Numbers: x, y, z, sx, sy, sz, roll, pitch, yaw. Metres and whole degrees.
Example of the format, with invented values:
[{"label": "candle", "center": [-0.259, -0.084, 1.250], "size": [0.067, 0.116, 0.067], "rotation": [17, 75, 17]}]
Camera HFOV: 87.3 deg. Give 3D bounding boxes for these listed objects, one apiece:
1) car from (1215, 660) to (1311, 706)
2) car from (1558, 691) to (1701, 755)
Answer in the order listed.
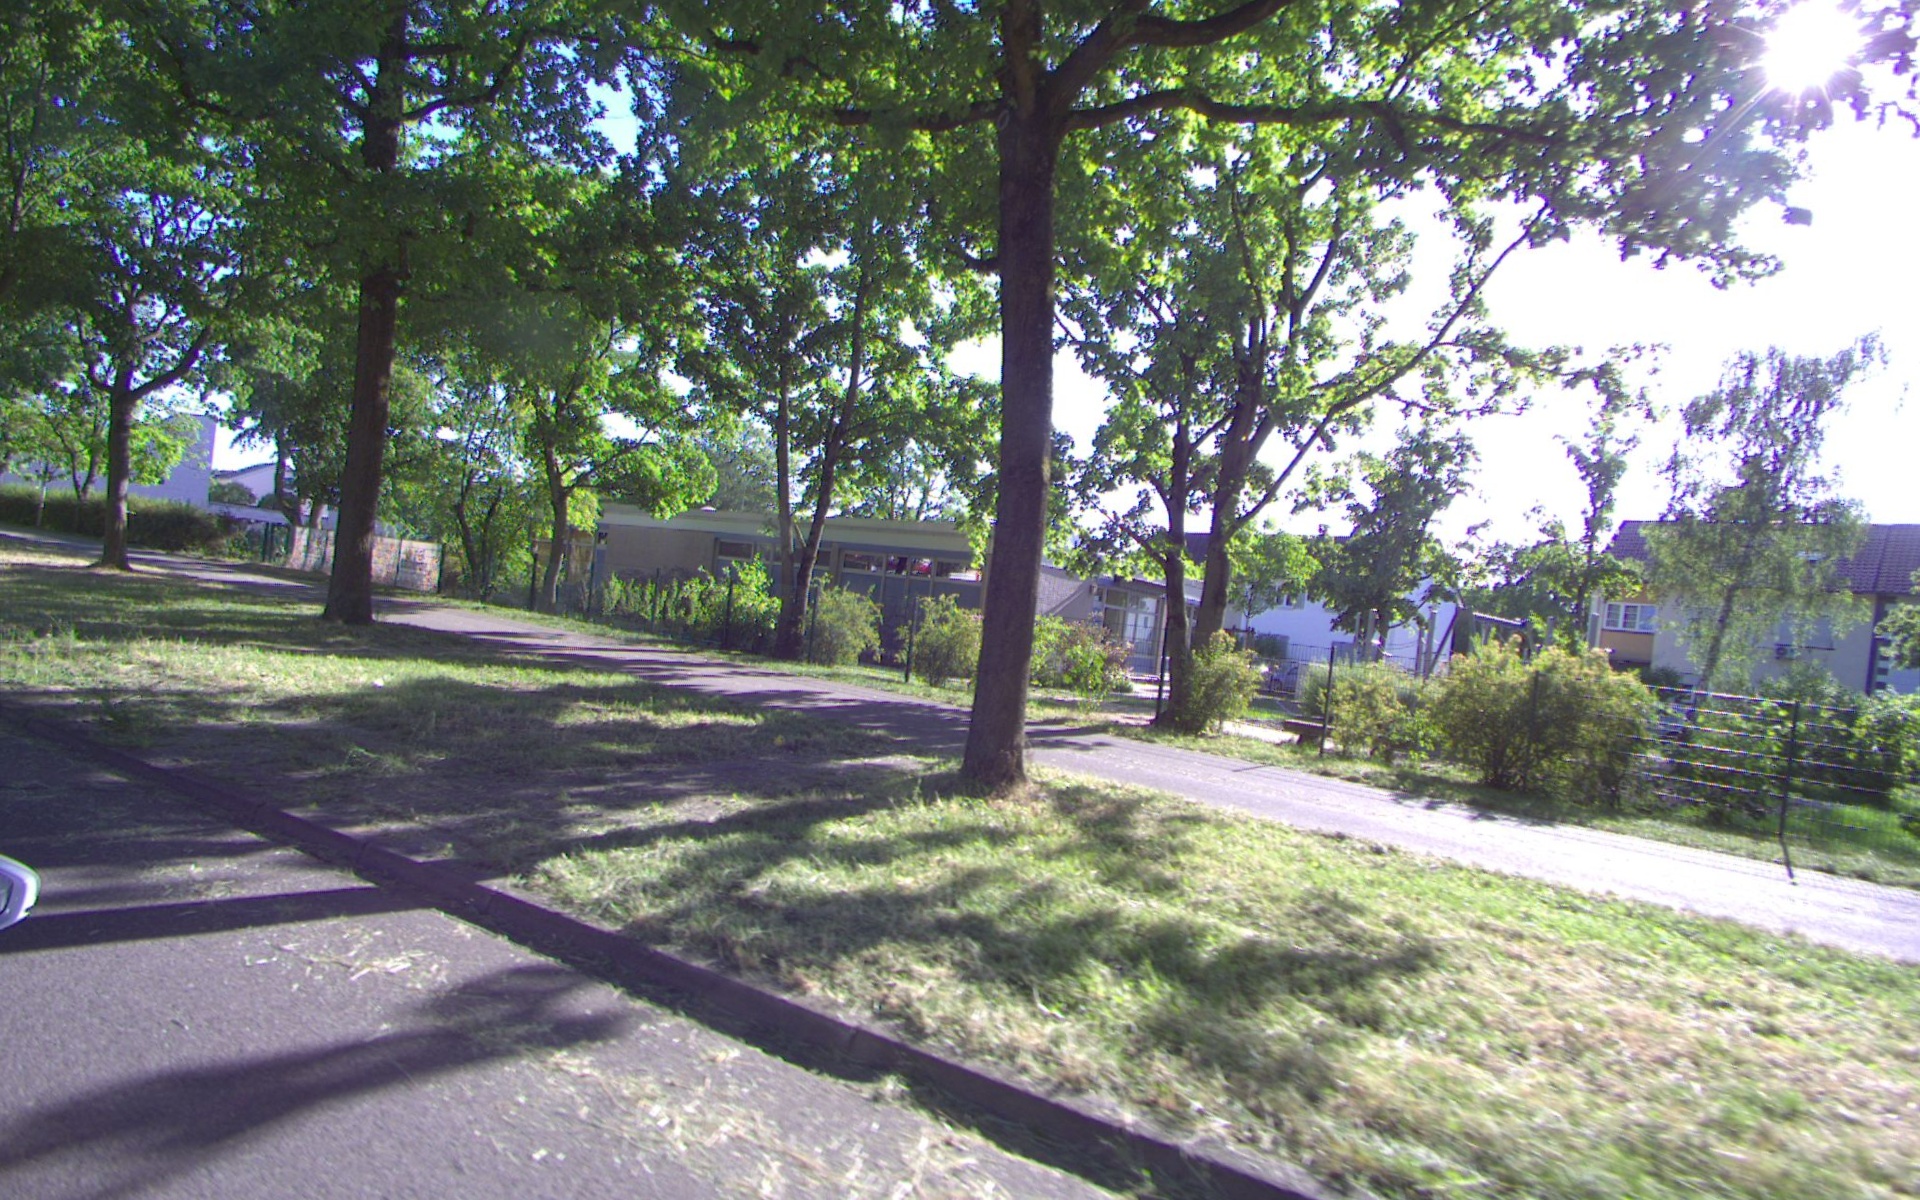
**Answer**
[{"label": "car", "center": [14.730, 4.033, 48.961], "size": [1.892, 1.771, 3.952], "rotation": [6, -1, -43]}, {"label": "car", "center": [24.768, 4.526, 37.315], "size": [1.889, 1.771, 3.958], "rotation": [6, -1, -39]}]
